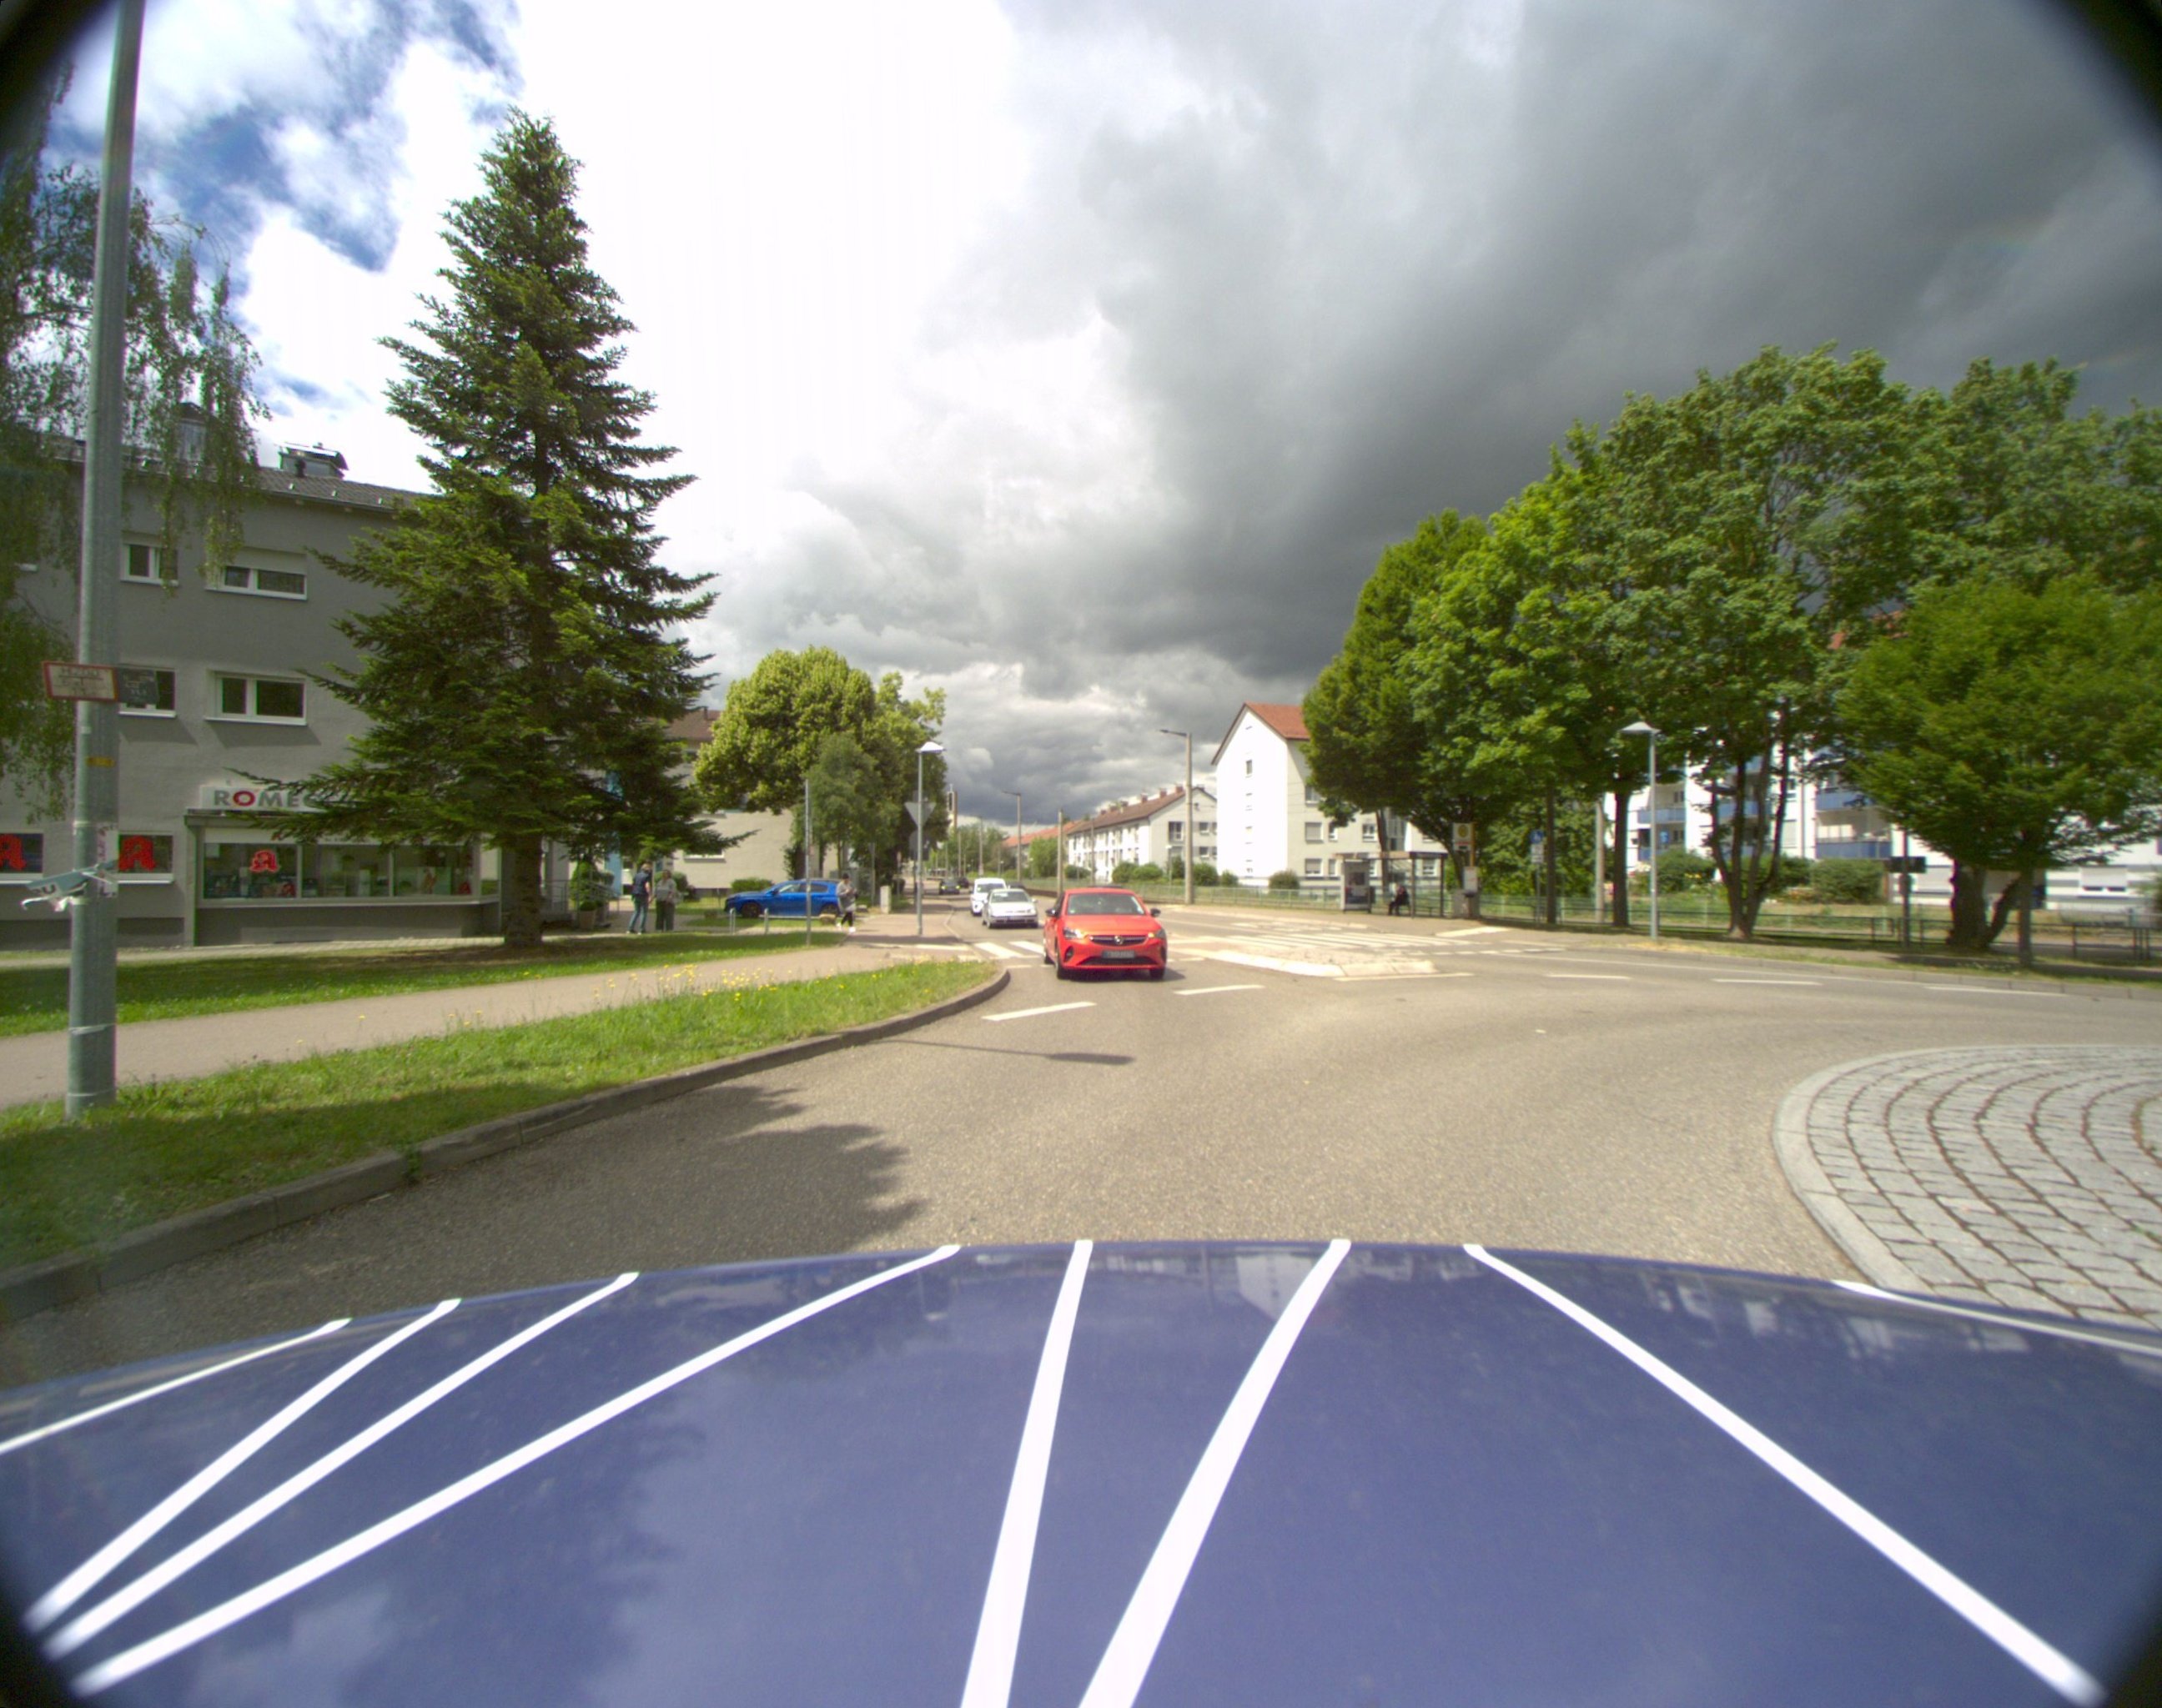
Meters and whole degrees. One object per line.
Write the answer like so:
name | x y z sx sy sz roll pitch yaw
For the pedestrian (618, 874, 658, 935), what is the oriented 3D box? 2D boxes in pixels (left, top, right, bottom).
pedestrian | -11.359 1.283 19.509 0.745 1.520 0.690 1 -1 -19

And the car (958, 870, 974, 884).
car | -15.358 3.072 101.311 2.000 1.517 4.519 3 1 -10

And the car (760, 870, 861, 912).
car | -11.145 1.535 31.360 3.746 1.547 2.028 3 -2 -22

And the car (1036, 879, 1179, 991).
car | 0.280 1.251 13.082 1.767 1.548 3.998 1 -1 -8

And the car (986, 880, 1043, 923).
car | -2.482 1.678 27.667 1.765 1.389 3.997 1 -1 -9

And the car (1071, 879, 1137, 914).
car | 0.994 1.948 35.929 1.860 1.446 4.382 -1 -1 -16

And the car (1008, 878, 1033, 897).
car | -4.835 2.663 60.512 1.823 1.375 4.616 1 -1 -6

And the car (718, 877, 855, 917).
car | -10.811 1.596 27.995 4.504 1.236 1.996 4 -2 -23

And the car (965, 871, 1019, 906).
car | -4.447 1.663 37.488 2.001 1.597 3.995 1 -1 -16

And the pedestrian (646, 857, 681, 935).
pedestrian | -11.056 1.089 20.146 0.656 2.001 1.045 1 -1 -22

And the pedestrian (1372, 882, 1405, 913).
pedestrian | 11.851 1.656 29.305 0.801 1.128 0.910 0 0 -18

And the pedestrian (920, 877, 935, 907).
pedestrian | -8.745 2.170 43.213 0.685 1.650 0.830 1 -1 -20

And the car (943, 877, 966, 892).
car | -12.147 2.923 73.285 1.919 1.309 3.998 1 -1 -7

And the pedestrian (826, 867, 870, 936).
pedestrian | -6.771 1.352 22.072 0.944 1.944 0.840 1 -1 -40
